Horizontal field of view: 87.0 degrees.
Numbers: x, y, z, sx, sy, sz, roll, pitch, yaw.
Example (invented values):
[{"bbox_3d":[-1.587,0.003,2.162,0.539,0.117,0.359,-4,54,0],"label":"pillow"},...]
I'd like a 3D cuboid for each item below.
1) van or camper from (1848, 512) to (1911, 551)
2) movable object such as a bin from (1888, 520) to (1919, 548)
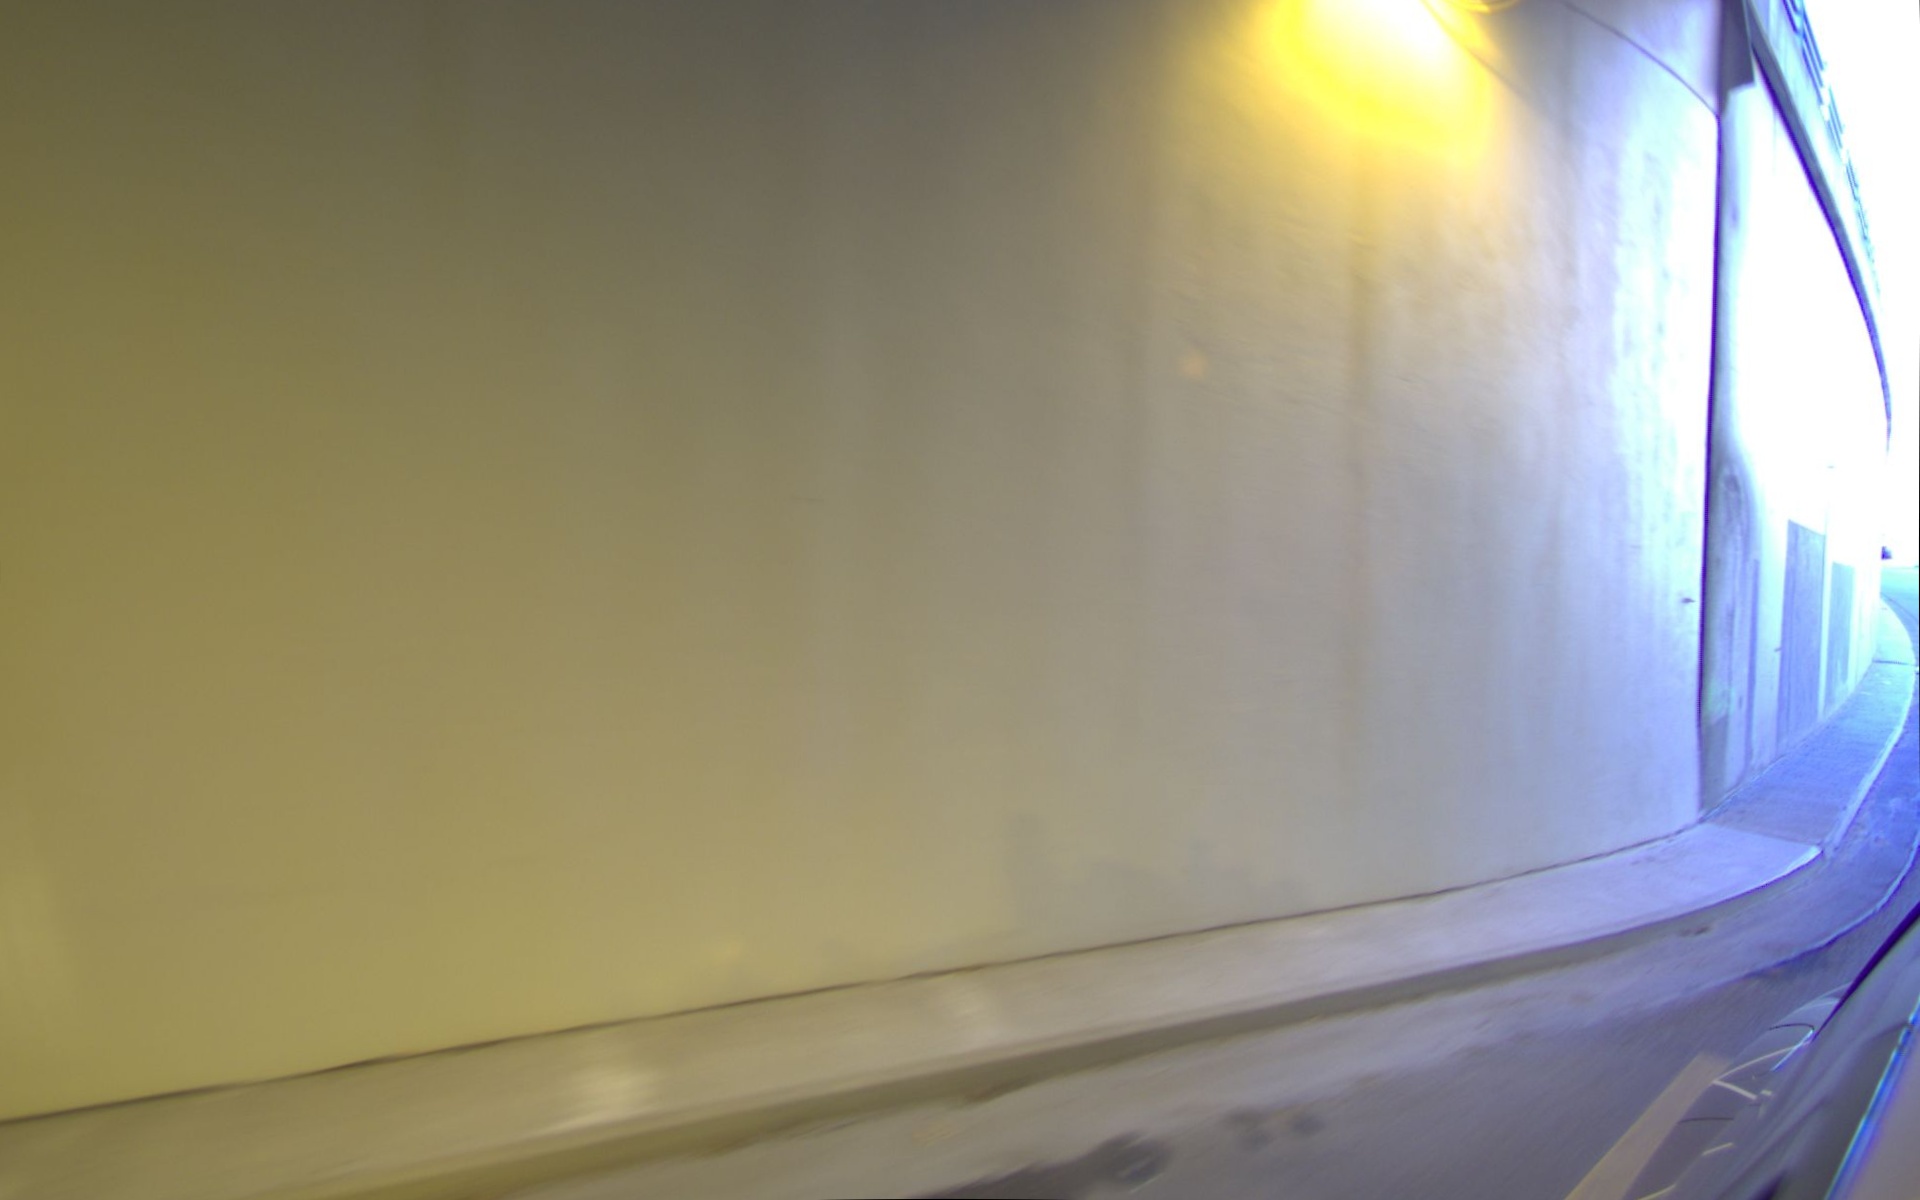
[{"bbox_3d":[68.097,-5.073,75.039,2.183,2.644,6.752,-1,3,31],"label":"van or camper"},{"bbox_3d":[88.010,-6.046,93.614,2.089,2.424,4.264,4,3,29],"label":"movable object such as a bin"}]
